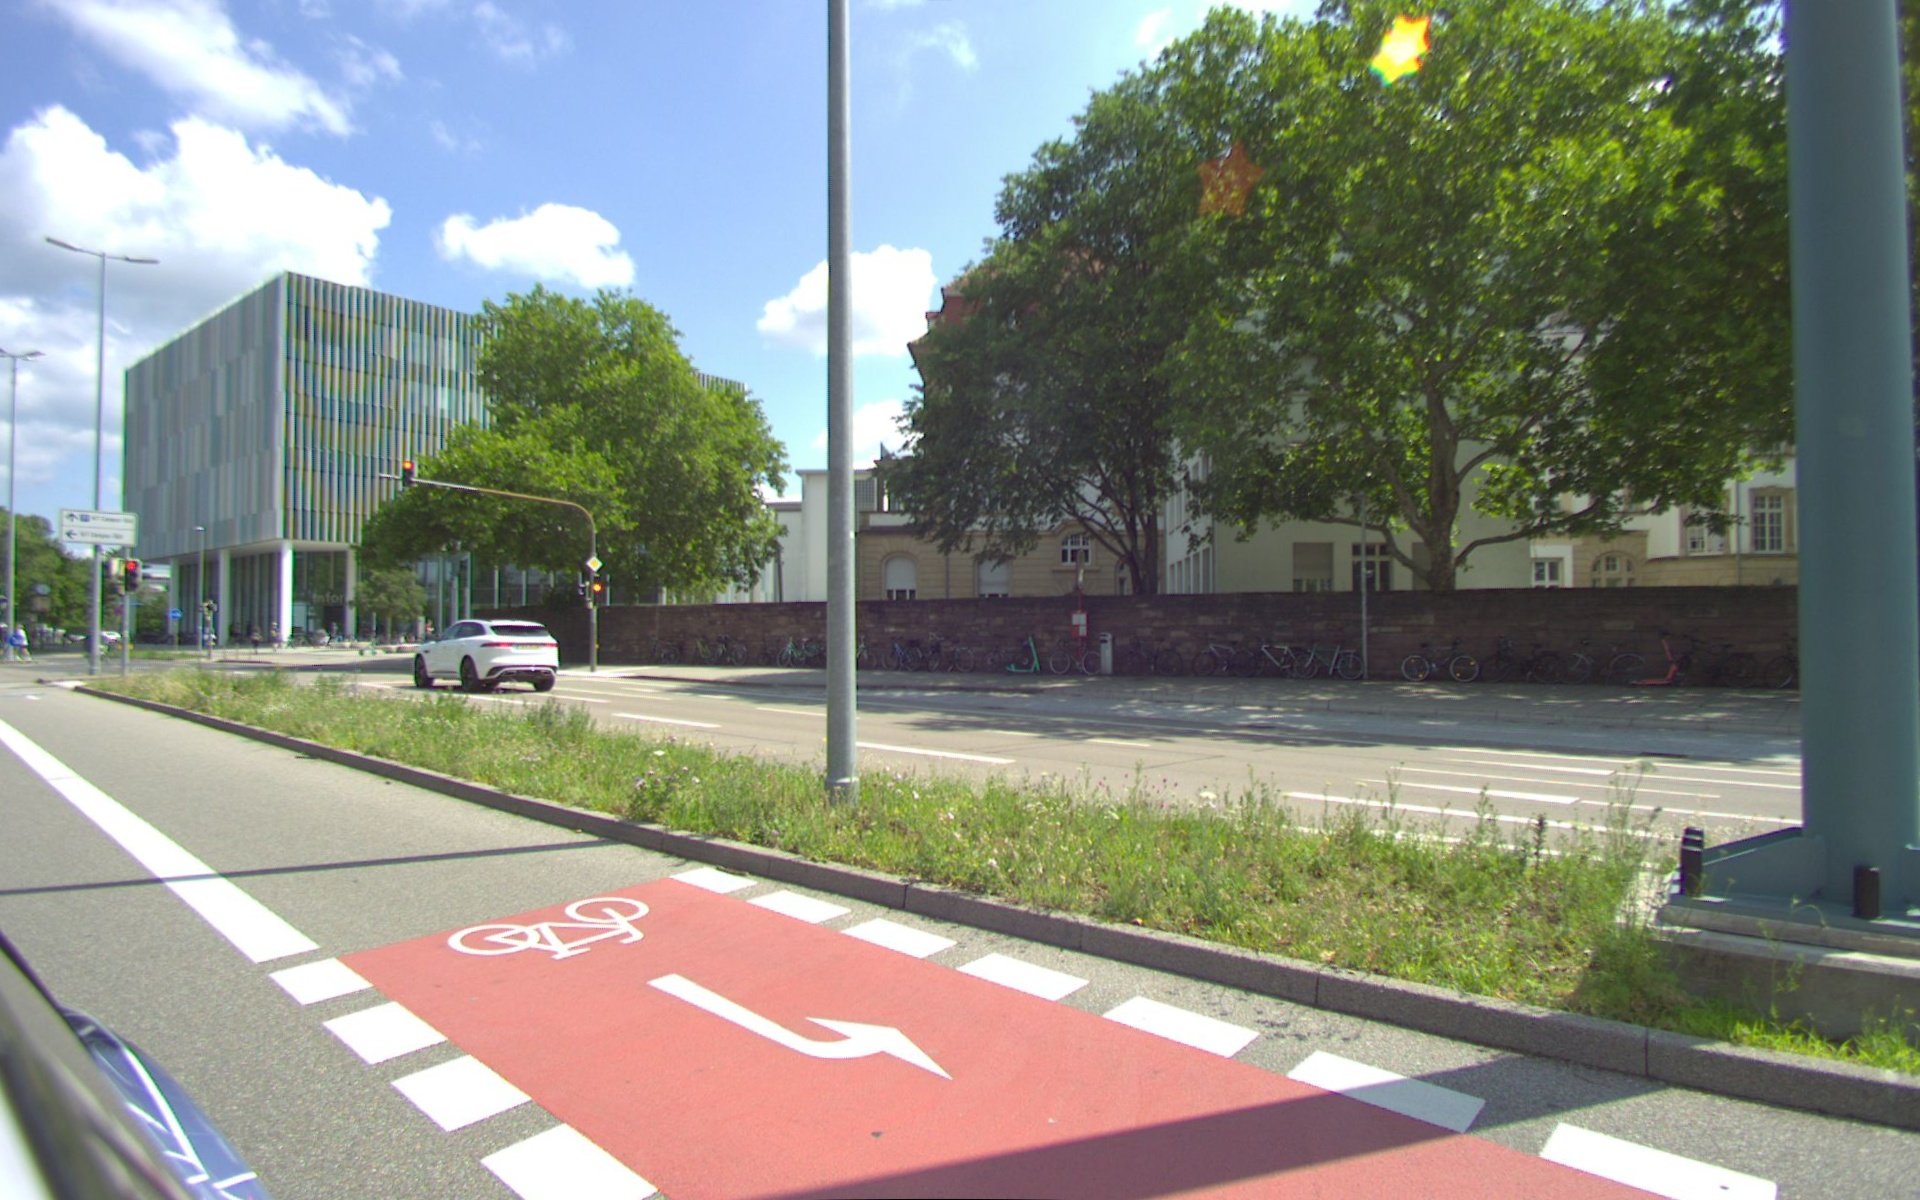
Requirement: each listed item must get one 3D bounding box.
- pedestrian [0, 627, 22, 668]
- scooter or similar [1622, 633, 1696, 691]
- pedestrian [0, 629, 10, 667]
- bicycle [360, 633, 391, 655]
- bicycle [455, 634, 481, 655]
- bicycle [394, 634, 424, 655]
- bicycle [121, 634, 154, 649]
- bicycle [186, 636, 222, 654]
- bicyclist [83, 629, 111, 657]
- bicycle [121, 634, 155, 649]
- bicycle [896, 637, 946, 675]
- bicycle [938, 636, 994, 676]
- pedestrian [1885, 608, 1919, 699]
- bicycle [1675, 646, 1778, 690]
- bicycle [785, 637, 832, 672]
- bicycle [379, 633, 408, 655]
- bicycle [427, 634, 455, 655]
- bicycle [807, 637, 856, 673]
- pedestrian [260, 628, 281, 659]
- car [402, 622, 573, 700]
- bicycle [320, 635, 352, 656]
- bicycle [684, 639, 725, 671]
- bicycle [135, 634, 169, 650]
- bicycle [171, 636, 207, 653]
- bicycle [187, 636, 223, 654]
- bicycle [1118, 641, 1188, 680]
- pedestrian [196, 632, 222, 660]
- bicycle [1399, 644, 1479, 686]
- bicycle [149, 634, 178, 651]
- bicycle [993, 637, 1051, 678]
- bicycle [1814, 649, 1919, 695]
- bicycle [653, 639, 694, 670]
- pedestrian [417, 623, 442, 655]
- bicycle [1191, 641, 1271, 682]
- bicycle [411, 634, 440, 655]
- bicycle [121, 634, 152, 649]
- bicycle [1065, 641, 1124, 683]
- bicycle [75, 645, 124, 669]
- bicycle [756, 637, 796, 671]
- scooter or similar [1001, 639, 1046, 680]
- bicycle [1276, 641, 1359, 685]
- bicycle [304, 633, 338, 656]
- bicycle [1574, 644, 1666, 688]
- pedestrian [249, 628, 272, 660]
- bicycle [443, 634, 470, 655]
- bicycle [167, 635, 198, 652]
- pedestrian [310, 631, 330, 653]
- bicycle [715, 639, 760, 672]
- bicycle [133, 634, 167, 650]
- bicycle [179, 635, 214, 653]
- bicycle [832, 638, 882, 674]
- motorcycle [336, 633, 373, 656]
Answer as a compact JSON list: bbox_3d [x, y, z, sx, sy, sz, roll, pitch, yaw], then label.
[{"bbox_3d":[-45.279,2.240,47.993,0.972,1.940,1.093,-2,-2,44],"label":"pedestrian"},{"bbox_3d":[14.849,1.311,21.510,1.184,1.192,0.430,-1,-2,21],"label":"scooter or similar"},{"bbox_3d":[-46.052,2.308,48.527,0.689,1.840,0.637,-2,-3,41],"label":"pedestrian"},{"bbox_3d":[-43.848,3.292,75.973,1.034,1.564,3.423,0,-2,-12],"label":"bicycle"},{"bbox_3d":[-36.765,3.326,75.715,0.983,1.564,3.423,0,-2,-12],"label":"bicycle"},{"bbox_3d":[-41.330,3.305,75.963,0.983,1.564,3.423,0,-2,-12],"label":"bicycle"},{"bbox_3d":[-82.121,4.122,101.109,0.621,1.506,2.478,-2,-2,41],"label":"bicycle"},{"bbox_3d":[-65.611,3.892,87.823,0.621,1.506,2.419,-2,-2,41],"label":"bicycle"},{"bbox_3d":[-39.288,1.945,46.081,0.608,1.235,0.835,0,-2,-10],"label":"bicyclist"},{"bbox_3d":[-81.665,4.112,100.566,0.621,1.506,2.478,-2,-2,41],"label":"bicycle"},{"bbox_3d":[-1.207,1.718,31.424,1.588,1.161,0.398,-1,-2,30],"label":"bicycle"},{"bbox_3d":[0.188,1.674,30.223,1.582,1.161,0.530,-1,-2,20],"label":"bicycle"},{"bbox_3d":[17.477,0.961,18.403,0.752,1.629,0.612,-1,-1,20],"label":"pedestrian"},{"bbox_3d":[16.262,1.433,21.522,1.658,0.909,0.540,-1,-2,30],"label":"bicycle"},{"bbox_3d":[-5.100,1.843,34.029,1.581,1.161,0.400,-1,-2,19],"label":"bicycle"},{"bbox_3d":[-42.491,3.299,75.961,0.983,1.564,3.423,0,-2,-12],"label":"bicycle"},{"bbox_3d":[-38.782,3.313,75.695,0.983,1.564,3.423,0,-2,-12],"label":"bicycle"},{"bbox_3d":[-4.225,1.821,33.318,1.576,1.161,0.401,-1,-2,9],"label":"bicycle"},{"bbox_3d":[-44.284,2.781,64.983,0.955,1.940,0.882,0,-2,-22],"label":"pedestrian"},{"bbox_3d":[-11.336,1.388,24.137,4.775,1.680,2.048,-2,-3,43],"label":"car"},{"bbox_3d":[-46.628,3.407,75.669,0.919,1.505,2.690,0,-1,-4],"label":"bicycle"},{"bbox_3d":[-9.340,1.994,36.968,1.589,1.161,0.495,-2,-2,33],"label":"bicycle"},{"bbox_3d":[-77.910,4.060,97.563,0.621,1.506,2.478,-2,-2,41],"label":"bicycle"},{"bbox_3d":[-68.576,3.929,90.028,0.621,1.506,2.478,-2,-2,41],"label":"bicycle"},{"bbox_3d":[-66.183,3.908,88.700,2.473,1.506,0.731,1,-2,-39],"label":"bicycle"},{"bbox_3d":[5.244,1.639,27.549,1.796,1.016,0.476,-1,-2,33],"label":"bicycle"},{"bbox_3d":[-44.594,2.751,60.119,0.875,1.641,0.962,-1,-2,29],"label":"pedestrian"},{"bbox_3d":[11.282,1.514,23.837,1.658,0.956,0.540,-1,-2,30],"label":"bicycle"},{"bbox_3d":[-75.715,4.038,96.185,0.621,1.506,2.044,-2,-2,41],"label":"bicycle"},{"bbox_3d":[1.804,1.663,29.436,1.582,1.161,0.530,-1,-2,20],"label":"bicycle"},{"bbox_3d":[18.495,1.448,20.546,1.657,0.909,0.540,-1,-2,27],"label":"bicycle"},{"bbox_3d":[-10.739,2.031,37.955,1.589,1.107,0.567,-2,-2,33],"label":"bicycle"},{"bbox_3d":[-33.420,2.444,63.704,0.971,1.940,1.095,-2,-2,38],"label":"pedestrian"},{"bbox_3d":[7.074,1.593,26.430,1.942,1.055,0.540,-1,-2,30],"label":"bicycle"},{"bbox_3d":[-40.106,3.314,75.972,0.983,1.564,3.423,0,-2,-12],"label":"bicycle"},{"bbox_3d":[-83.026,4.140,102.028,0.656,1.506,2.272,-2,-2,41],"label":"bicycle"},{"bbox_3d":[3.772,1.730,28.445,1.587,1.152,0.429,-1,-2,30],"label":"bicycle"},{"bbox_3d":[-39.307,2.597,46.274,0.637,1.006,2.167,0,-2,-9],"label":"bicycle"},{"bbox_3d":[-6.387,1.877,35.091,1.591,1.161,0.408,-2,-2,36],"label":"bicycle"},{"bbox_3d":[1.806,1.691,28.798,1.184,1.161,0.430,-1,-2,21],"label":"scooter or similar"},{"bbox_3d":[8.911,1.550,25.263,1.888,1.055,0.540,-1,-2,30],"label":"bicycle"},{"bbox_3d":[-47.672,3.316,75.582,0.798,1.656,3.420,0,-2,-8],"label":"bicycle"},{"bbox_3d":[14.576,1.449,22.410,1.658,0.909,0.540,-1,-2,30],"label":"bicycle"},{"bbox_3d":[-43.230,2.722,62.521,0.955,1.940,0.882,0,-2,-21],"label":"pedestrian"},{"bbox_3d":[-37.671,3.322,75.813,0.983,1.564,3.423,0,-2,-12],"label":"bicycle"},{"bbox_3d":[-70.806,3.968,92.181,0.621,1.506,2.171,-2,-2,41],"label":"bicycle"},{"bbox_3d":[-50.790,3.291,80.295,0.997,1.720,1.213,0,-2,-15],"label":"pedestrian"},{"bbox_3d":[-7.892,1.963,35.910,1.589,1.161,0.616,-2,-2,33],"label":"bicycle"},{"bbox_3d":[-78.687,4.075,98.365,0.621,1.506,2.478,-2,-2,41],"label":"bicycle"},{"bbox_3d":[-68.774,3.955,91.176,0.621,1.506,2.478,-2,-2,41],"label":"bicycle"},{"bbox_3d":[-3.322,1.810,32.667,1.576,1.161,0.401,-1,-2,9],"label":"bicycle"},{"bbox_3d":[-45.292,3.308,75.770,0.957,1.652,3.301,0,-2,-4],"label":"motorcycle"}]
